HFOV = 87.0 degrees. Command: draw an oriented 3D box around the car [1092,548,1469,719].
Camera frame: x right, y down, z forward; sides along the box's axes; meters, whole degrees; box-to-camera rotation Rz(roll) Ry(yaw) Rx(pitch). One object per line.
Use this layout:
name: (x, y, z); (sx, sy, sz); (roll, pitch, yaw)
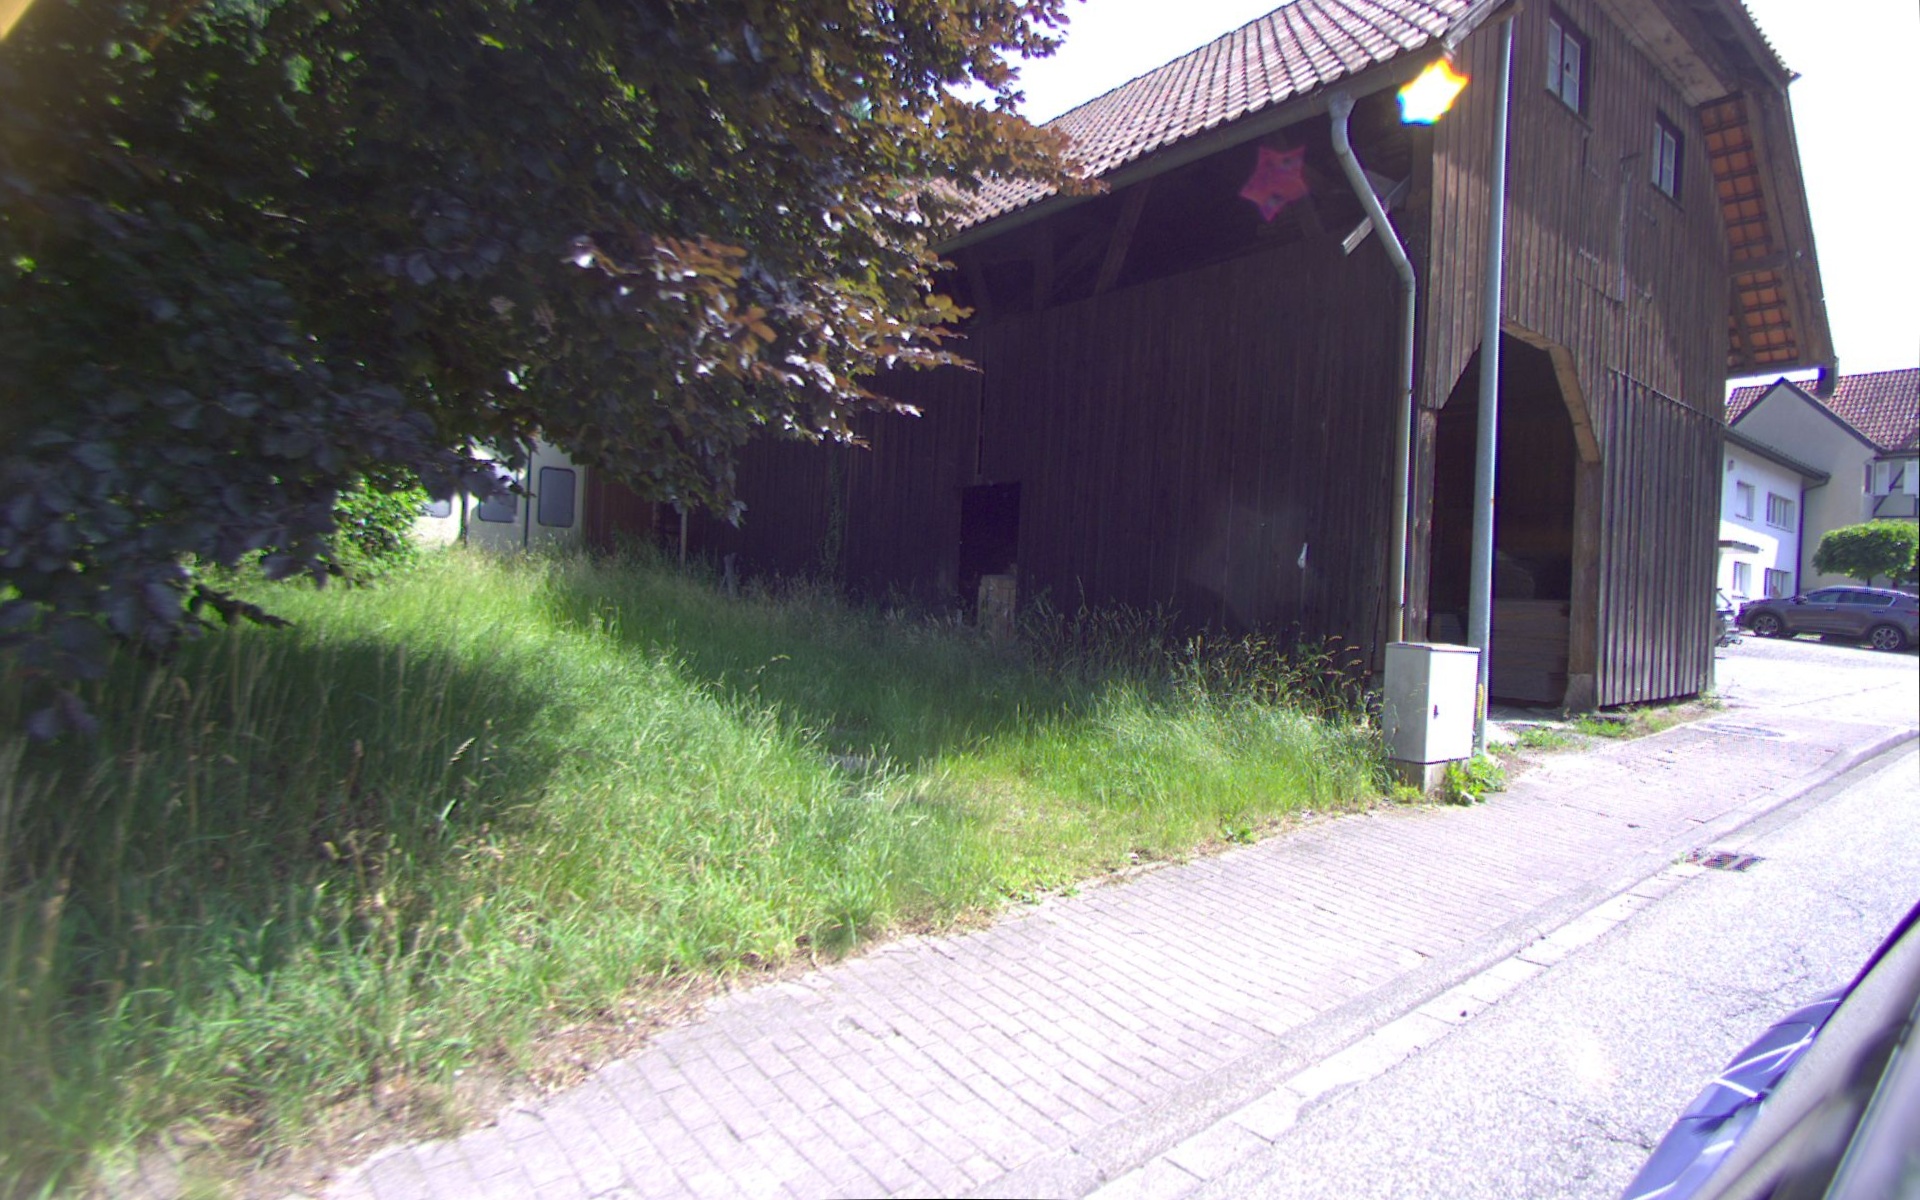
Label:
car: (3.305, 0.251, 11.333); (1.831, 1.526, 4.010); (3, 2, -21)

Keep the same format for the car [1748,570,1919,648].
car: (24.896, 0.223, 28.159); (1.742, 1.706, 4.241); (1, 6, -34)

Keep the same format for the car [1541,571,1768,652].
car: (17.840, 0.228, 26.202); (1.917, 1.781, 4.432); (1, 2, -38)

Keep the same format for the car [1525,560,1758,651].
car: (15.901, 0.063, 23.775); (1.920, 1.855, 4.135); (1, 3, -41)
